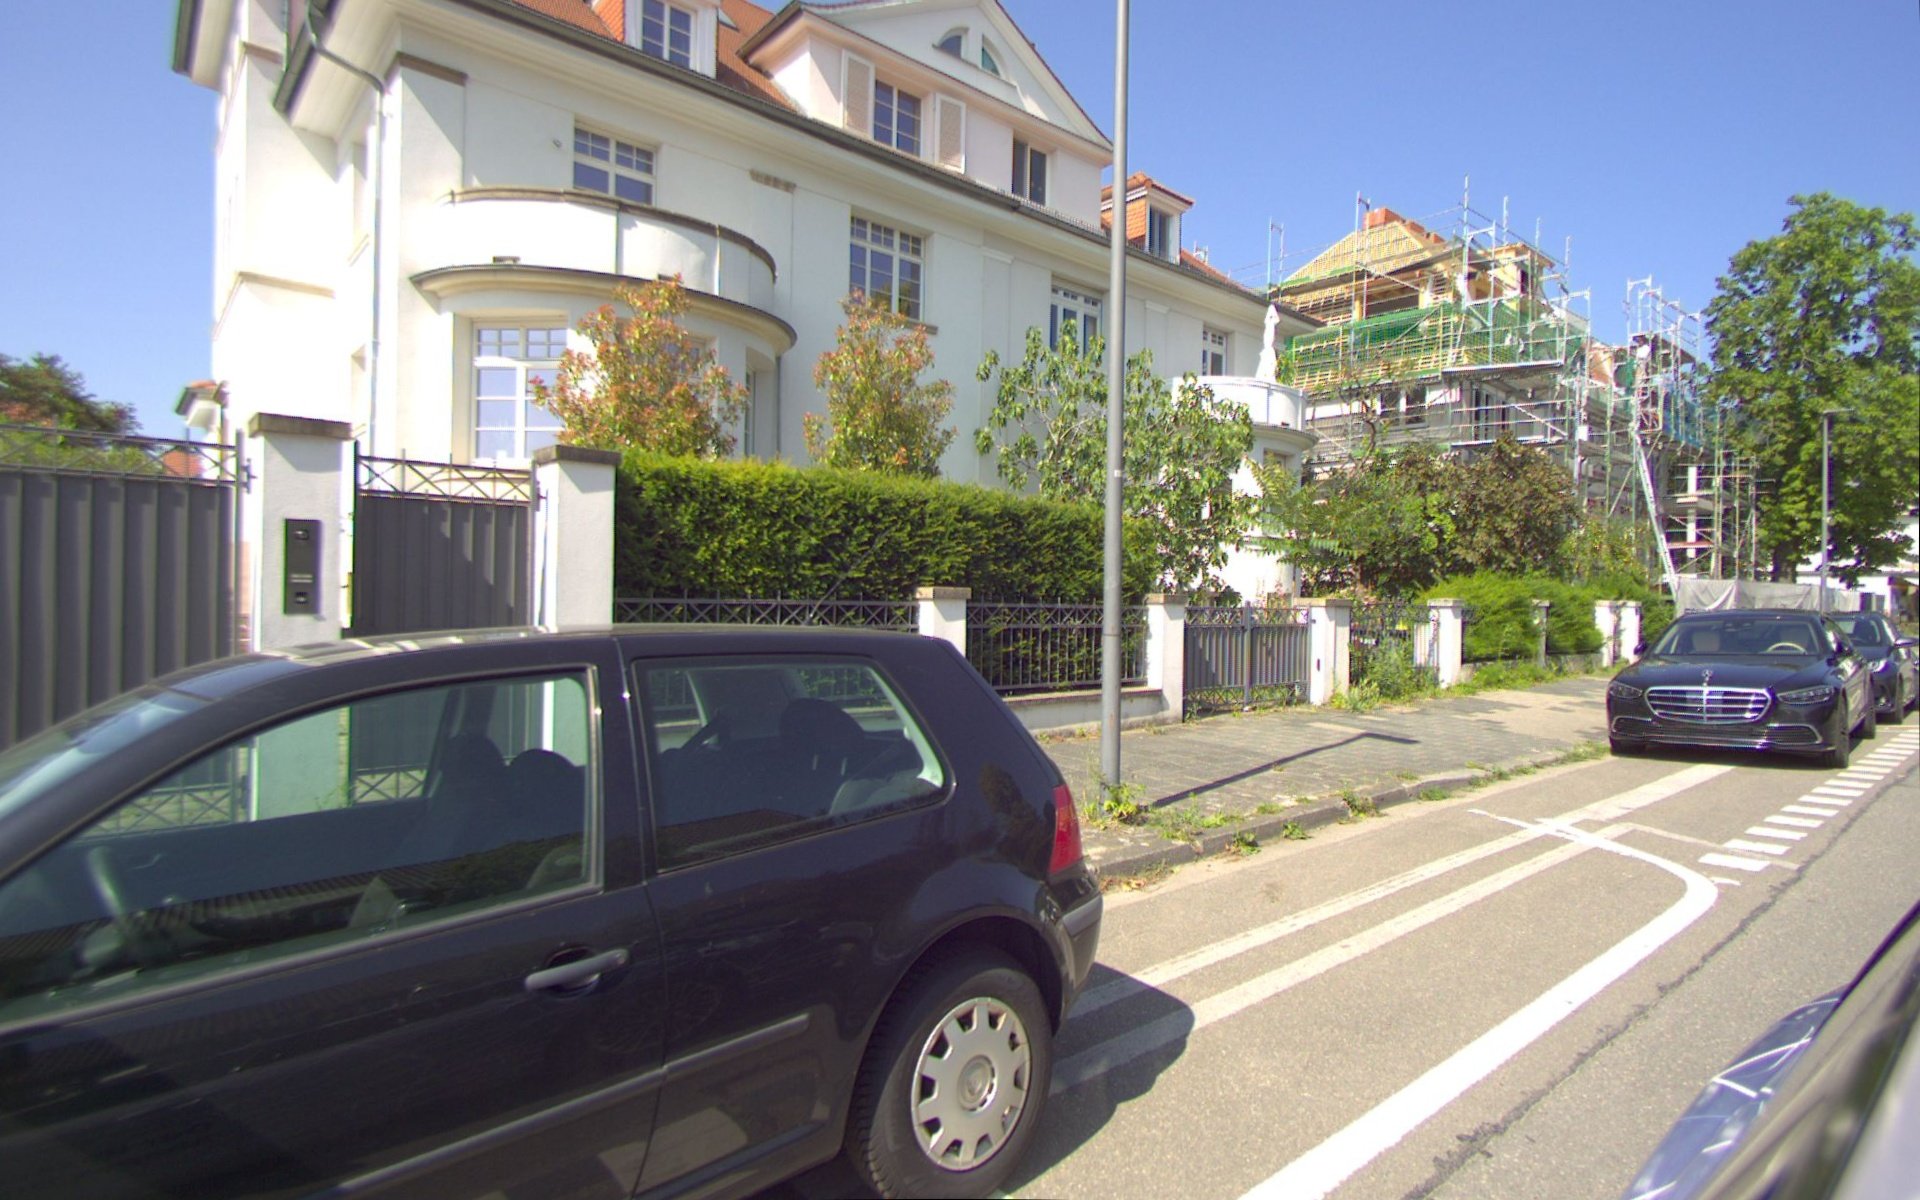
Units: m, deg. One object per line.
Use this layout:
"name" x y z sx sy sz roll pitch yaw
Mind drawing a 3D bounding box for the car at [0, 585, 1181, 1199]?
"car" -1.351 0.721 2.300 3.931 1.467 1.621 0 -1 -42

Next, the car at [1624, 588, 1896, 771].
"car" 8.992 0.724 11.201 4.819 1.603 1.697 0 -2 -44

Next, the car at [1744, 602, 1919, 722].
"car" 12.665 0.796 14.434 3.721 1.494 1.659 0 -2 -42
